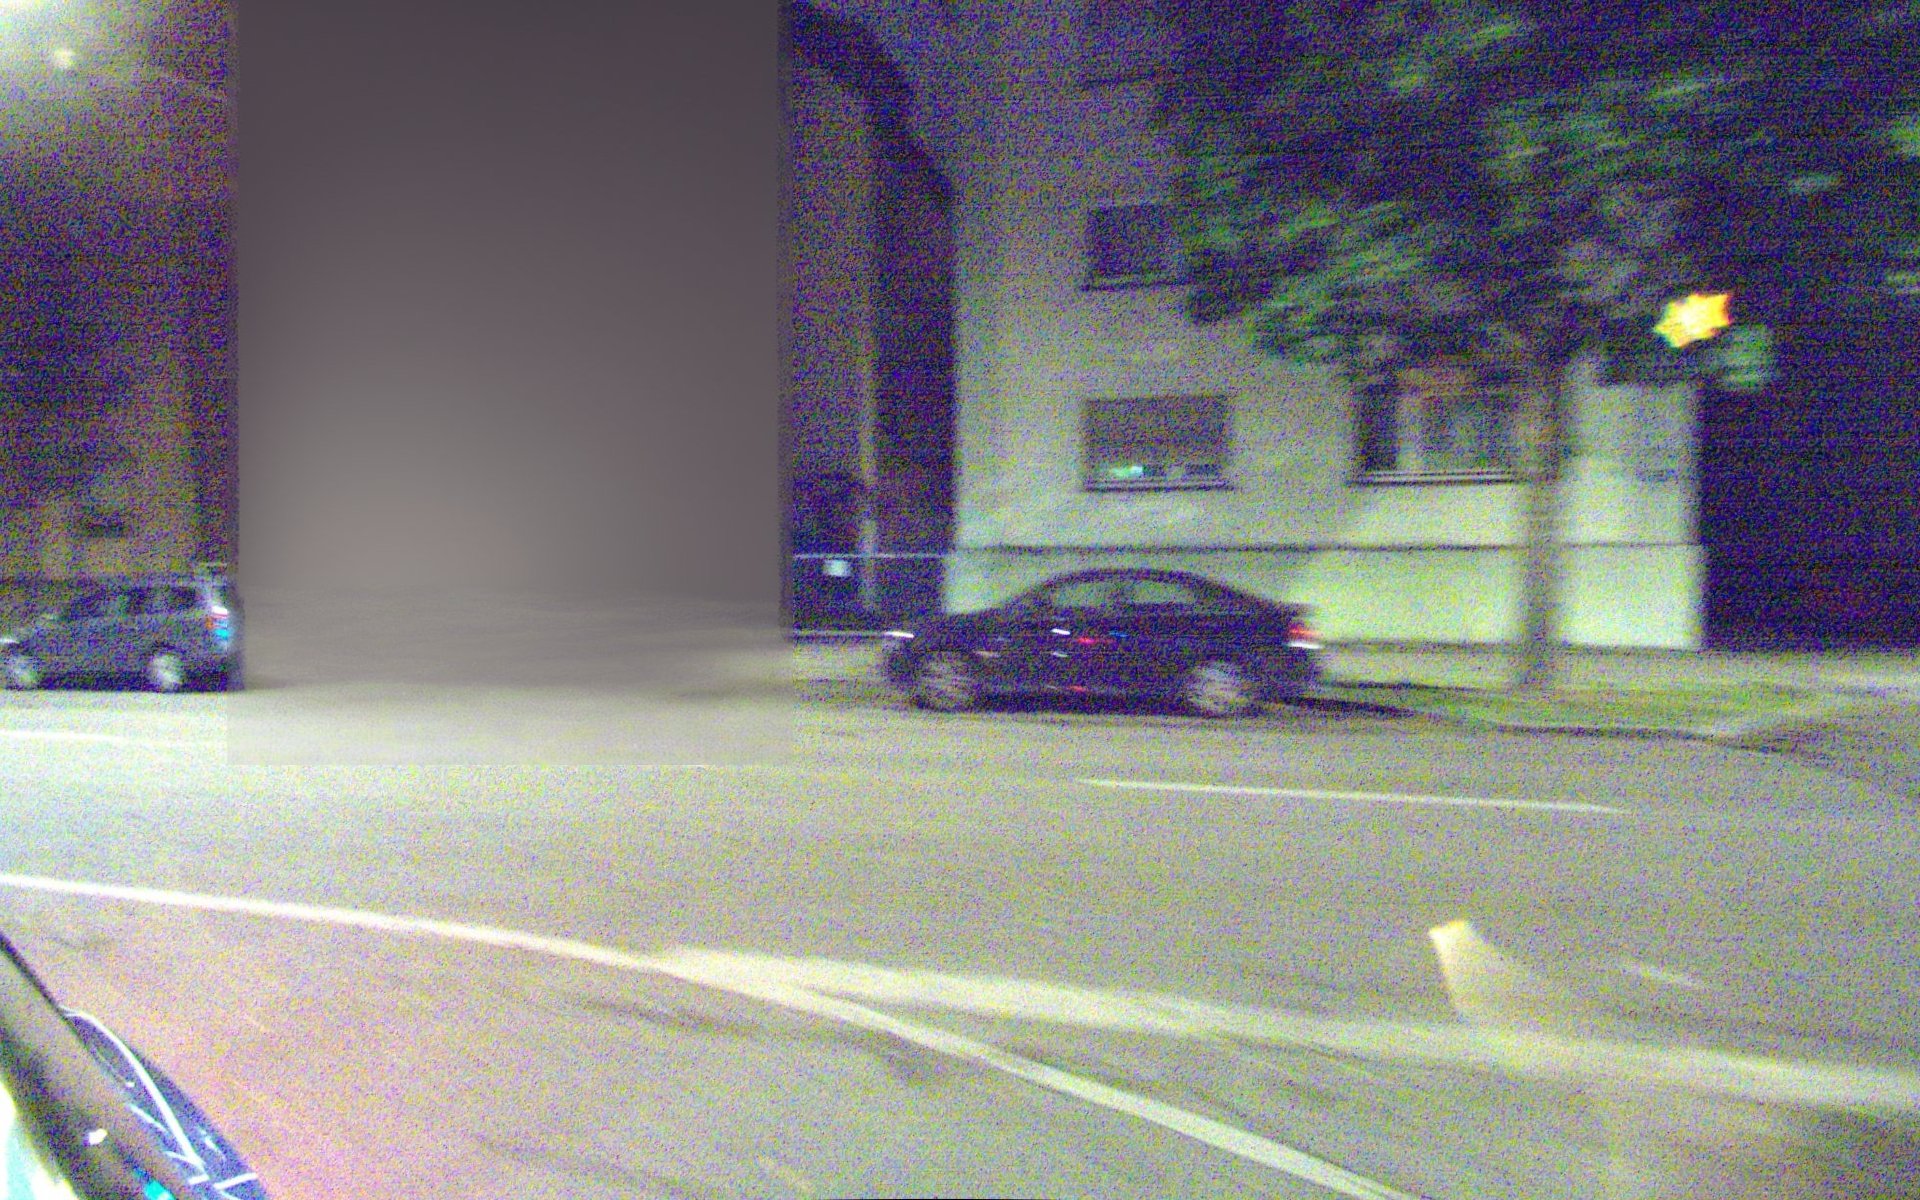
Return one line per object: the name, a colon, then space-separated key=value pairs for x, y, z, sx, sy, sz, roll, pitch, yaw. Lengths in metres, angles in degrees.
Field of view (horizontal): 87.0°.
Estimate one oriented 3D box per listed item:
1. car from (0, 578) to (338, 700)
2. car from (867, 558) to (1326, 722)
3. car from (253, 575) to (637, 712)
car: x=-11.066 y=0.489 z=13.971 sx=4.308 sy=1.444 sz=1.637 roll=0 pitch=4 yaw=15
car: x=1.401 y=0.349 z=10.584 sx=4.361 sy=1.444 sz=1.859 roll=-1 pitch=3 yaw=14
car: x=-6.371 y=0.484 z=12.603 sx=4.308 sy=1.444 sz=1.549 roll=0 pitch=4 yaw=16
